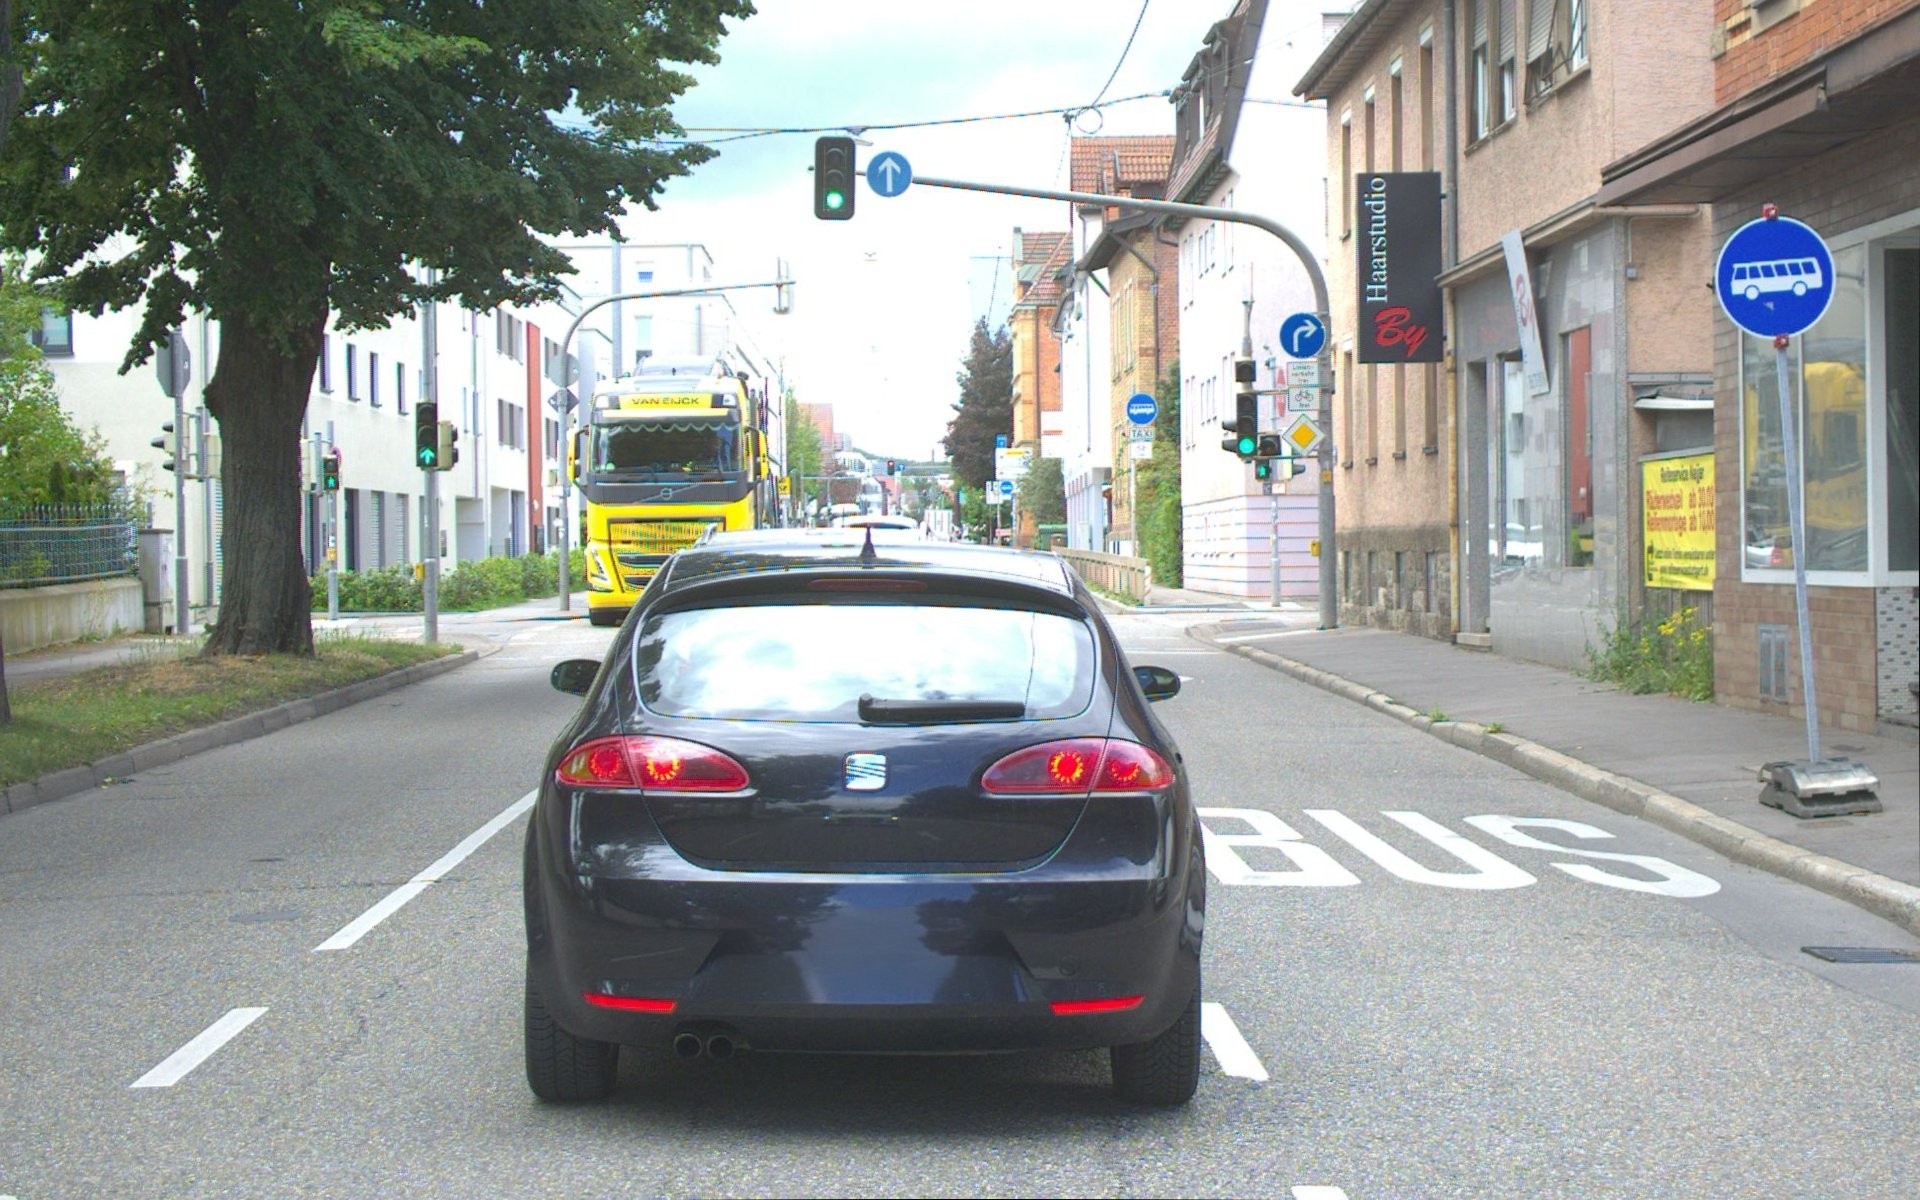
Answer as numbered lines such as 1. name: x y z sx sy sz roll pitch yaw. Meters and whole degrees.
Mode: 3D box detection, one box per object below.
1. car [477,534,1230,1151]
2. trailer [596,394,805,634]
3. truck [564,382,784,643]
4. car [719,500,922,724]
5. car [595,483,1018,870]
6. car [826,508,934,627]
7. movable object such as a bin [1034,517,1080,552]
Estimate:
1. car: -0.284 0.543 10.086 1.759 1.437 4.000 1 1 -1
2. trailer: -4.455 -1.475 61.873 2.858 3.795 14.392 1 1 -1
3. truck: -4.366 -1.333 53.965 2.843 3.769 7.670 1 1 0
4. car: -1.106 0.066 28.002 1.531 1.687 3.693 1 1 -1
5. car: -0.721 0.307 17.113 1.842 1.687 4.000 1 1 -1
6. car: -1.193 -0.496 51.048 1.531 1.687 3.693 1 1 -1
7. movable object such as a bin: 3.998 -2.700 142.278 1.818 1.432 1.993 1 1 0
